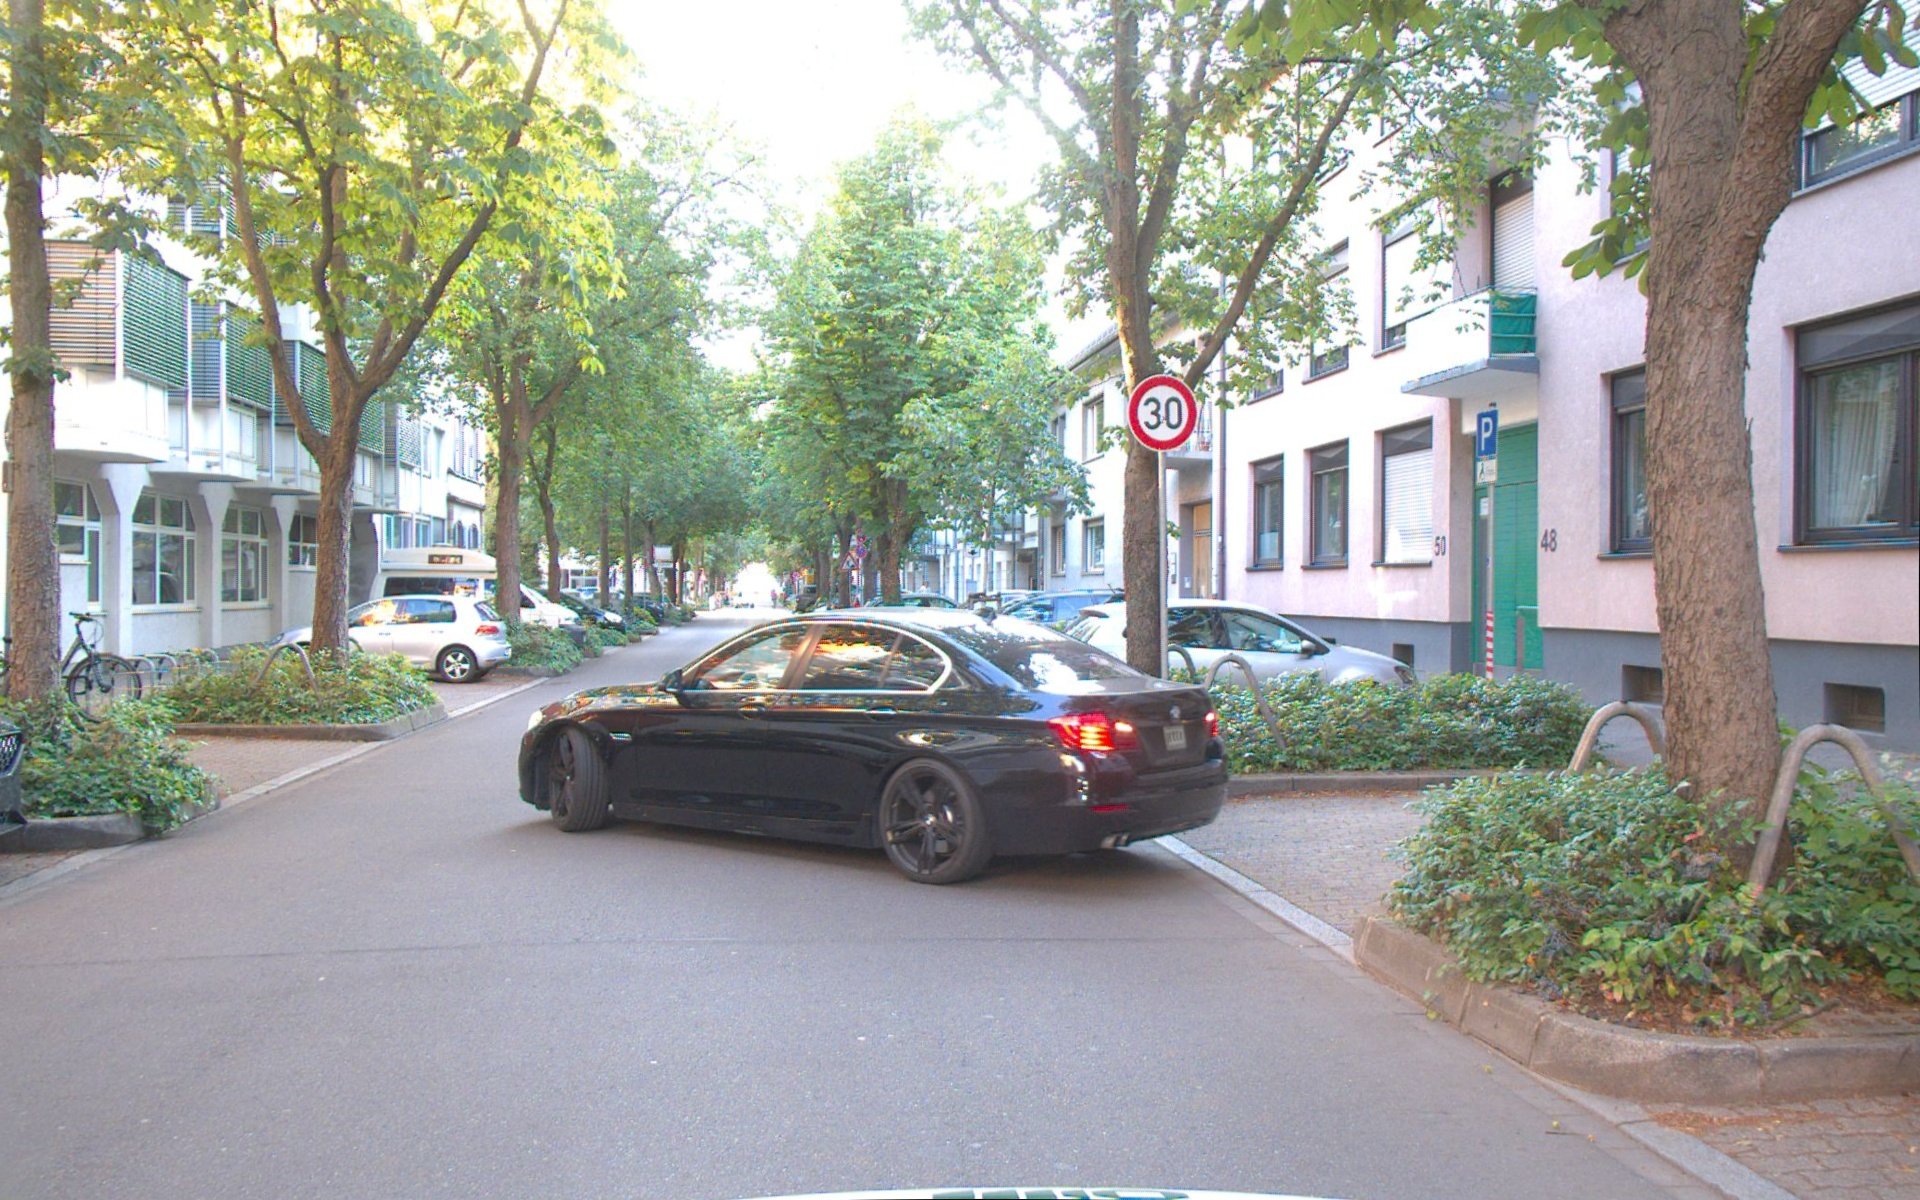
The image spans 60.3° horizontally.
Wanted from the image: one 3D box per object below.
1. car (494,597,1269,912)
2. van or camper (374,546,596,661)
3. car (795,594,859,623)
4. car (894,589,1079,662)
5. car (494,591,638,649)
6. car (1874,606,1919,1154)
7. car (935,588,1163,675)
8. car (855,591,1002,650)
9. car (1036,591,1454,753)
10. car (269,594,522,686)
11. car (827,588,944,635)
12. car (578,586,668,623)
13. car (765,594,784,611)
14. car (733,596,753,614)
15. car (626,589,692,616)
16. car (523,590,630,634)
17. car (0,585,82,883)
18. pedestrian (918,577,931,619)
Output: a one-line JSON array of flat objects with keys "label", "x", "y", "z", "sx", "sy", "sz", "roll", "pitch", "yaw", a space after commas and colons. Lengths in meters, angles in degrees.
[{"label": "car", "x": -0.632, "y": 0.744, "z": 10.097, "sx": 4.665, "sy": 1.506, "sz": 1.793, "roll": 0, "pitch": 0, "yaw": 36}, {"label": "van or camper", "x": -10.667, "y": 0.063, "z": 37.446, "sx": 4.575, "sy": 2.521, "sz": 1.997, "roll": 0, "pitch": 0, "yaw": -7}, {"label": "car", "x": -8.133, "y": 0.502, "z": 101.208, "sx": 3.891, "sy": 1.713, "sz": 1.783, "roll": 0, "pitch": 0, "yaw": -6}, {"label": "car", "x": 0.548, "y": 0.538, "z": 36.709, "sx": 3.893, "sy": 1.554, "sz": 1.782, "roll": 0, "pitch": 0, "yaw": -8}, {"label": "car", "x": -11.481, "y": 0.576, "z": 48.424, "sx": 3.891, "sy": 1.647, "sz": 1.783, "roll": 0, "pitch": 0, "yaw": -6}, {"label": "car", "x": 4.291, "y": 0.707, "z": 3.869, "sx": 3.545, "sy": 1.387, "sz": 1.660, "roll": 0, "pitch": 0, "yaw": -11}, {"label": "car", "x": 1.589, "y": 0.546, "z": 30.270, "sx": 3.894, "sy": 1.502, "sz": 1.781, "roll": 0, "pitch": 0, "yaw": -9}, {"label": "car", "x": -0.900, "y": 0.550, "z": 45.498, "sx": 3.893, "sy": 1.554, "sz": 1.782, "roll": 0, "pitch": 0, "yaw": -8}, {"label": "car", "x": 2.810, "y": 0.670, "z": 16.667, "sx": 3.836, "sy": 1.502, "sz": 1.661, "roll": 0, "pitch": 0, "yaw": -9}, {"label": "car", "x": -9.861, "y": 0.673, "z": 29.143, "sx": 3.891, "sy": 1.544, "sz": 1.783, "roll": 0, "pitch": 0, "yaw": -6}, {"label": "car", "x": -2.614, "y": 0.382, "z": 57.339, "sx": 3.894, "sy": 1.554, "sz": 1.782, "roll": 0, "pitch": 0, "yaw": -9}, {"label": "car", "x": -15.556, "y": 0.191, "z": 76.502, "sx": 3.891, "sy": 1.647, "sz": 1.783, "roll": 0, "pitch": 0, "yaw": -6}, {"label": "car", "x": -17.445, "y": 0.248, "z": 155.547, "sx": 1.787, "sy": 1.557, "sz": 3.995, "roll": -1, "pitch": 0, "yaw": -6}, {"label": "car", "x": -20.418, "y": 0.455, "z": 155.498, "sx": 1.745, "sy": 1.589, "sz": 4.163, "roll": 0, "pitch": 0, "yaw": -6}, {"label": "car", "x": -18.775, "y": 0.122, "z": 103.217, "sx": 3.891, "sy": 1.647, "sz": 1.783, "roll": 0, "pitch": 0, "yaw": -6}, {"label": "car", "x": -14.995, "y": 0.458, "z": 64.839, "sx": 3.891, "sy": 1.647, "sz": 1.783, "roll": 0, "pitch": 0, "yaw": -6}, {"label": "car", "x": -7.112, "y": 0.703, "z": 8.431, "sx": 4.272, "sy": 1.544, "sz": 1.782, "roll": 0, "pitch": 0, "yaw": -7}, {"label": "pedestrian", "x": -1.758, "y": -0.105, "z": 82.266, "sx": 0.577, "sy": 2.049, "sz": 0.669, "roll": 0, "pitch": 0, "yaw": -6}]
